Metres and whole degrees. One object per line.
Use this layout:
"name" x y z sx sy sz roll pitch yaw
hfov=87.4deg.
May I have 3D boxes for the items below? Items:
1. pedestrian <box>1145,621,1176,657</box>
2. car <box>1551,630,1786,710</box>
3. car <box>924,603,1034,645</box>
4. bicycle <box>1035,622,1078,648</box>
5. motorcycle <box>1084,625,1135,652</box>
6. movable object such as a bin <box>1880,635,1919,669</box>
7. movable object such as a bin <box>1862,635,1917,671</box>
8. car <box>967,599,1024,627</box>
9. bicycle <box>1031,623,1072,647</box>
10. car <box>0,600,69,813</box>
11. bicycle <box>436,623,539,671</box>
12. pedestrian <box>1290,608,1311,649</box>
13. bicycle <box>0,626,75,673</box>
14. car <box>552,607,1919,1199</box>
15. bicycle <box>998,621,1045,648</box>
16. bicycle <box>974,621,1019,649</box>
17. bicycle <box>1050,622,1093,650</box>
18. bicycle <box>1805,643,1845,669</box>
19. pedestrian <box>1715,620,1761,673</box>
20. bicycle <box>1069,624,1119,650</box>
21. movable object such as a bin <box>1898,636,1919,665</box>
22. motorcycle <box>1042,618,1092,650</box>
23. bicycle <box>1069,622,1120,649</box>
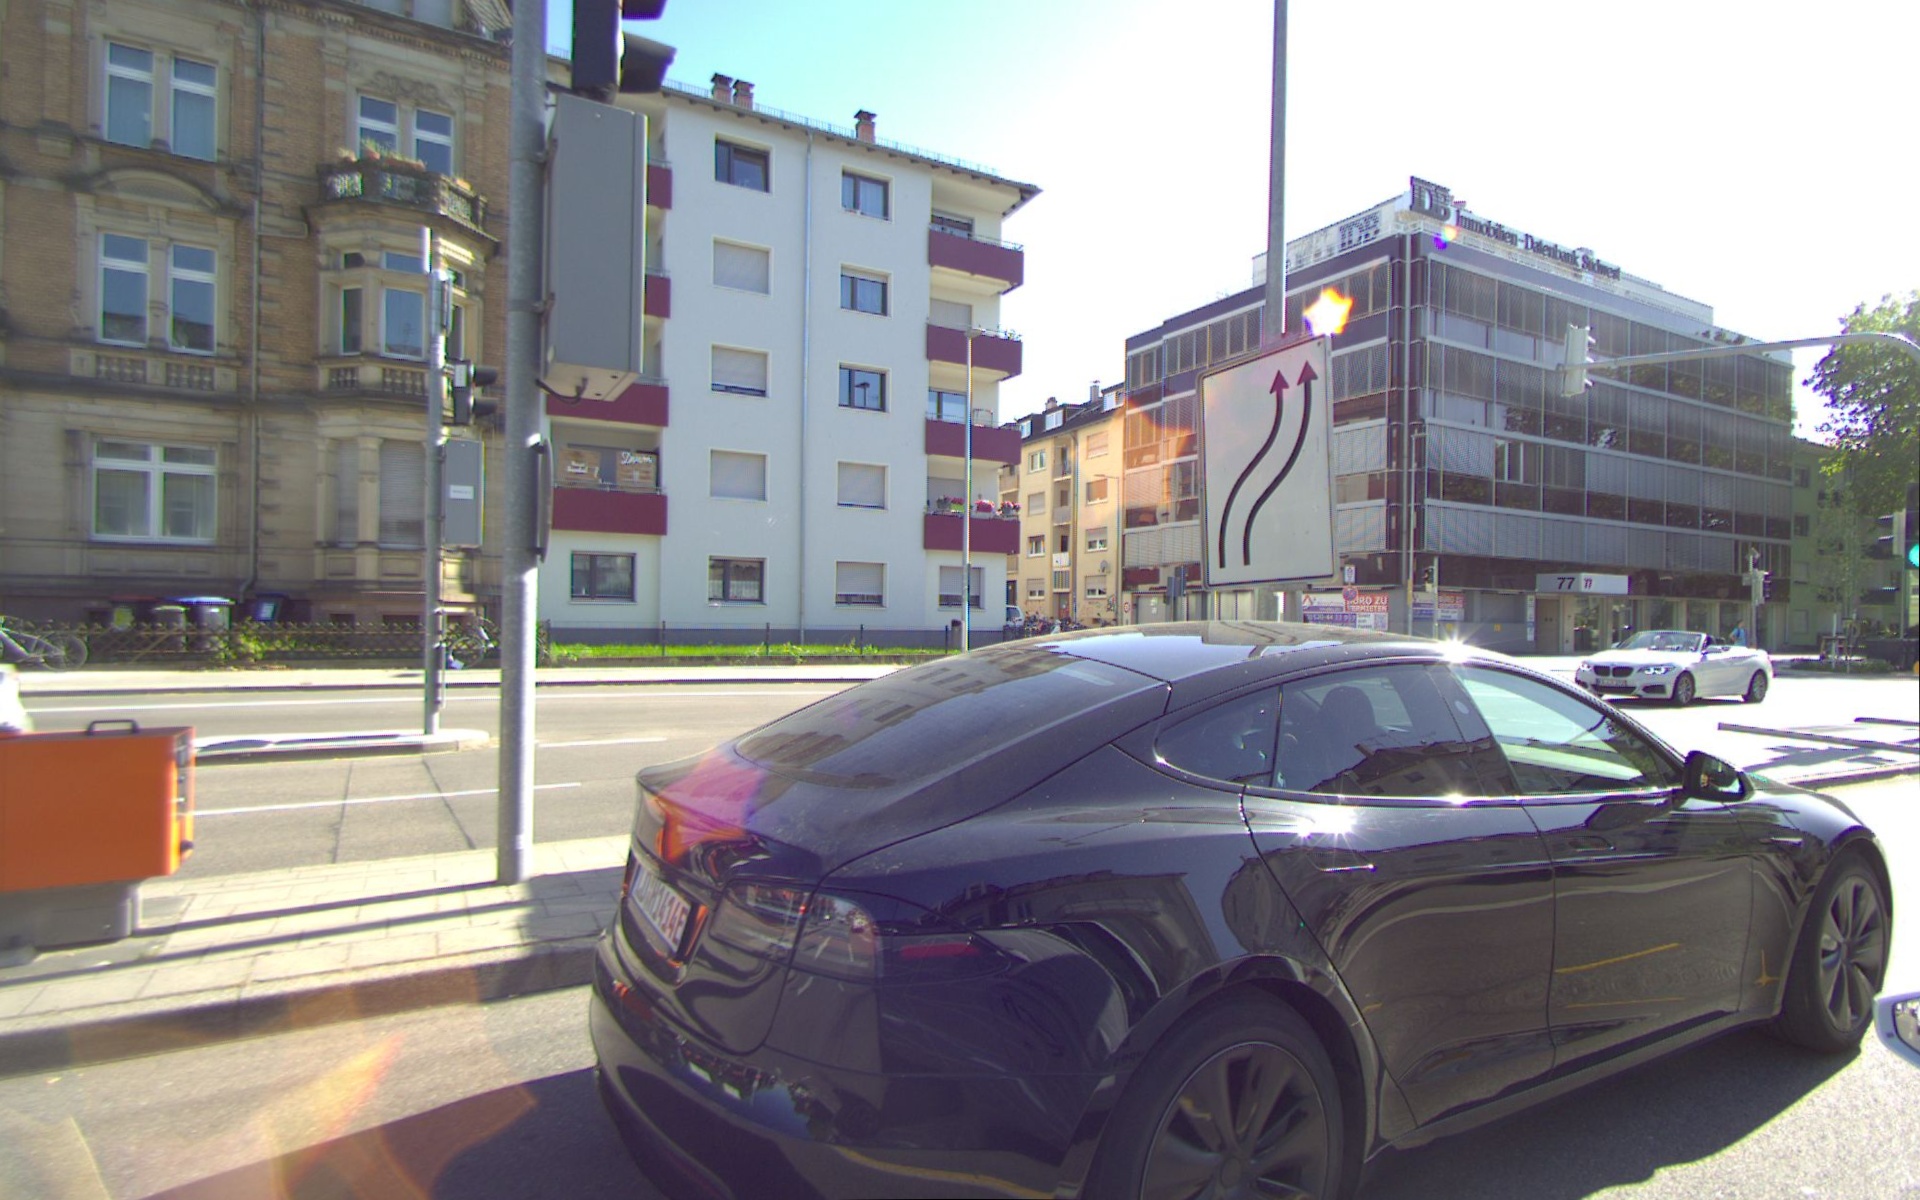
"pedestrian" 6.798 1.318 34.053 0.783 1.168 0.711 1 0 -41
"car" 13.731 1.279 19.453 4.259 1.363 1.925 1 -1 -26
"car" 0.836 1.051 43.927 4.416 1.754 1.989 1 0 -23
"bicycle" 3.895 1.408 40.553 1.713 1.017 0.507 1 0 -25
"motorcycle" 5.459 1.400 36.635 1.815 0.949 0.502 1 0 -23
"movable object such as a bin" 40.379 2.202 42.766 1.832 1.407 1.210 1 0 -28
"movable object such as a bin" 38.422 2.188 41.534 1.832 1.407 1.110 1 0 -28
"car" 2.159 0.789 62.155 1.973 1.623 3.976 1 0 -24
"bicycle" 3.784 1.431 41.443 1.701 0.960 0.456 1 0 -28
"car" -9.312 0.771 6.967 4.339 1.472 1.983 0 3 -31
"bicycle" -9.813 0.966 20.887 1.916 0.971 0.303 1 -1 -29
"pedestrian" 14.133 1.182 41.660 0.688 1.680 0.745 0 0 28
"bicycle" -16.166 0.848 17.264 1.396 0.781 0.297 1 0 -29
"car" 1.173 0.779 3.462 4.571 1.430 1.916 1 0 -30
"bicycle" 2.315 1.309 37.704 1.713 0.982 0.572 1 0 -25
"bicycle" 1.437 1.355 39.351 1.667 1.072 0.572 1 0 -25
"bicycle" 4.405 1.403 39.615 1.714 1.083 0.487 1 0 -27
"bicycle" 35.657 2.303 41.378 1.856 1.051 0.624 1 0 -28
"pedestrian" 26.331 1.557 34.008 0.997 1.733 0.863 1 0 -22
"bicycle" 5.221 1.430 39.028 1.922 0.960 0.476 1 0 -21
"movable object such as a bin" 41.888 2.217 43.586 1.225 1.219 1.389 1 0 -26
"motorcycle" 3.949 1.261 37.019 1.756 1.157 0.610 1 0 -21
"bicycle" 5.139 1.364 38.336 1.852 0.991 0.507 1 0 -13
